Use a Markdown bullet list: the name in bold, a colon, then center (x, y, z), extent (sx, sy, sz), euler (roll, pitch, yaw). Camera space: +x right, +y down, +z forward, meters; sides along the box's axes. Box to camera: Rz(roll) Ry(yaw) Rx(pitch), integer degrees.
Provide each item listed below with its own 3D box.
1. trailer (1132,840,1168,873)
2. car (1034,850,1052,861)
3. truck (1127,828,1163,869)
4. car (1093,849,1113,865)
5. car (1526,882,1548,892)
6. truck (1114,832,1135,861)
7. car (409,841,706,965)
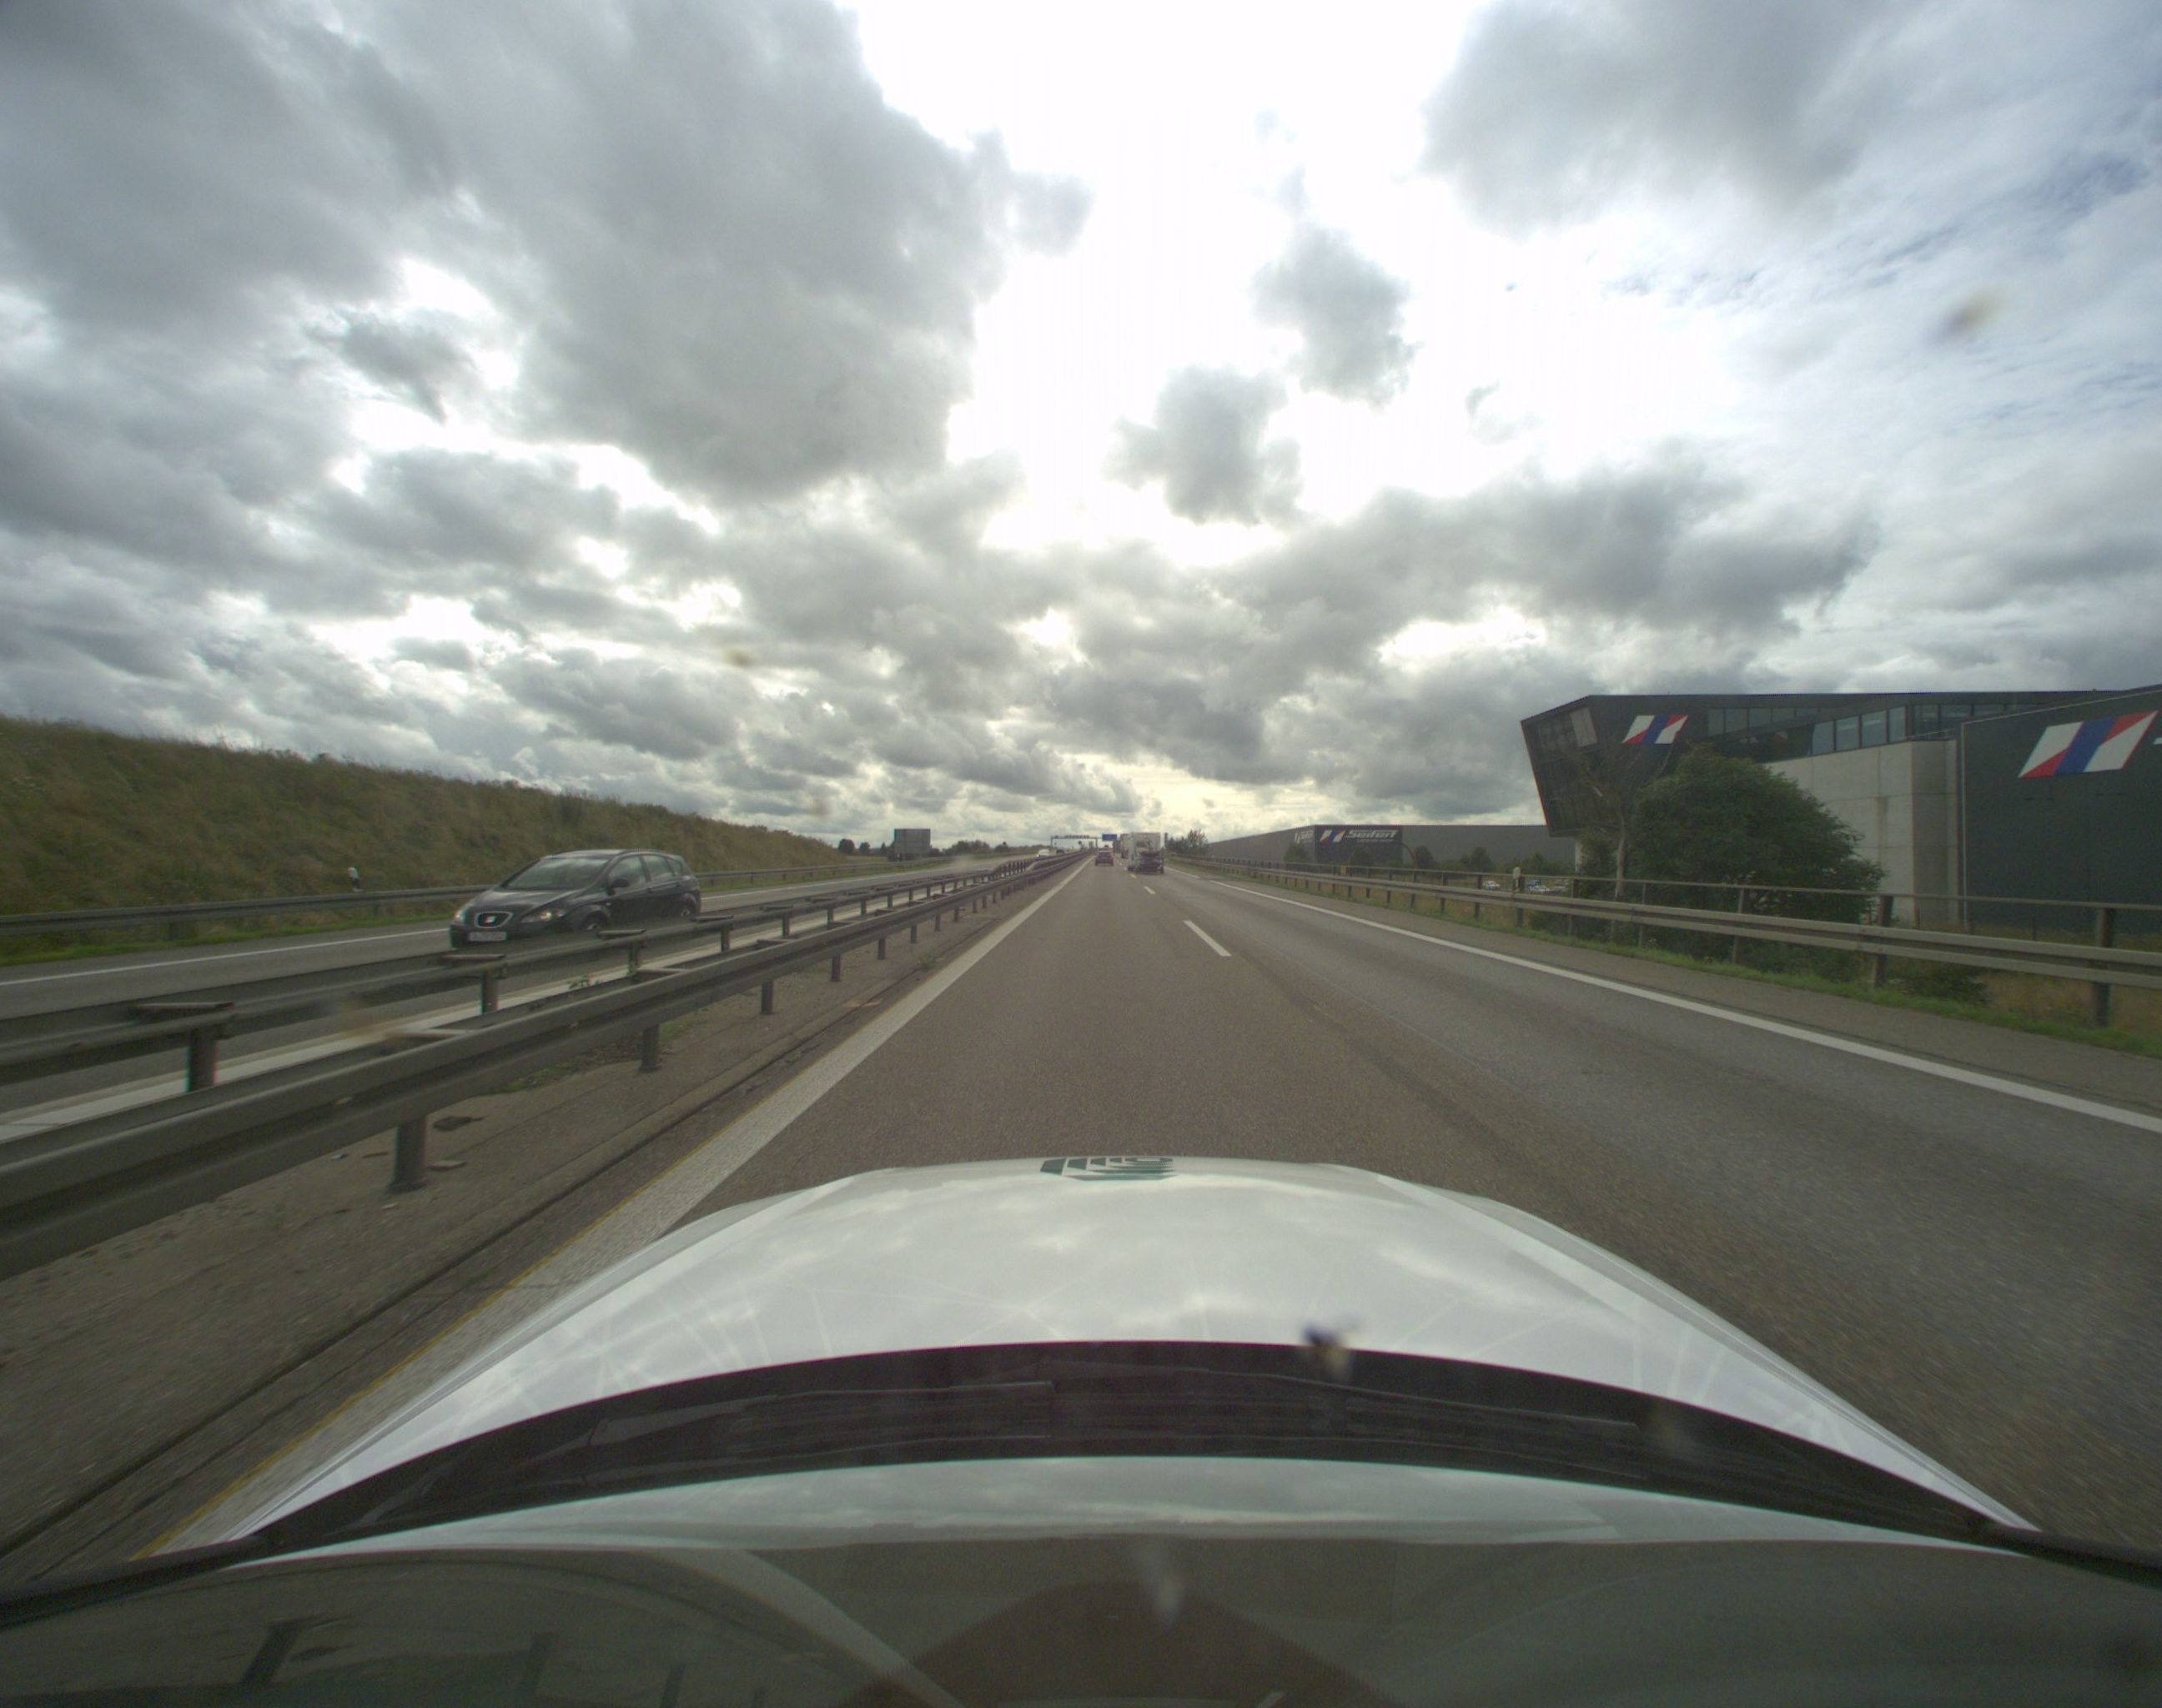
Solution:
- **trailer**: center (4.636, 0.153, 54.948), extent (2.328, 2.136, 4.004), euler (0, -1, 4)
- **car**: center (-4.950, 0.211, 106.641), extent (1.899, 1.513, 4.731), euler (0, -1, 2)
- **truck**: center (4.836, -0.372, 62.191), extent (2.472, 2.950, 5.818), euler (0, -1, 2)
- **car**: center (2.193, 0.318, 79.066), extent (1.738, 1.453, 4.005), euler (0, -1, 4)
- **car**: center (79.040, 5.704, 141.191), extent (1.669, 1.494, 4.001), euler (2, 0, 1)
- **truck**: center (7.085, -1.131, 133.675), extent (3.326, 4.534, 8.021), euler (0, -1, 2)
- **car**: center (-7.615, 0.647, 12.413), extent (1.834, 1.576, 4.002), euler (0, -1, 2)
